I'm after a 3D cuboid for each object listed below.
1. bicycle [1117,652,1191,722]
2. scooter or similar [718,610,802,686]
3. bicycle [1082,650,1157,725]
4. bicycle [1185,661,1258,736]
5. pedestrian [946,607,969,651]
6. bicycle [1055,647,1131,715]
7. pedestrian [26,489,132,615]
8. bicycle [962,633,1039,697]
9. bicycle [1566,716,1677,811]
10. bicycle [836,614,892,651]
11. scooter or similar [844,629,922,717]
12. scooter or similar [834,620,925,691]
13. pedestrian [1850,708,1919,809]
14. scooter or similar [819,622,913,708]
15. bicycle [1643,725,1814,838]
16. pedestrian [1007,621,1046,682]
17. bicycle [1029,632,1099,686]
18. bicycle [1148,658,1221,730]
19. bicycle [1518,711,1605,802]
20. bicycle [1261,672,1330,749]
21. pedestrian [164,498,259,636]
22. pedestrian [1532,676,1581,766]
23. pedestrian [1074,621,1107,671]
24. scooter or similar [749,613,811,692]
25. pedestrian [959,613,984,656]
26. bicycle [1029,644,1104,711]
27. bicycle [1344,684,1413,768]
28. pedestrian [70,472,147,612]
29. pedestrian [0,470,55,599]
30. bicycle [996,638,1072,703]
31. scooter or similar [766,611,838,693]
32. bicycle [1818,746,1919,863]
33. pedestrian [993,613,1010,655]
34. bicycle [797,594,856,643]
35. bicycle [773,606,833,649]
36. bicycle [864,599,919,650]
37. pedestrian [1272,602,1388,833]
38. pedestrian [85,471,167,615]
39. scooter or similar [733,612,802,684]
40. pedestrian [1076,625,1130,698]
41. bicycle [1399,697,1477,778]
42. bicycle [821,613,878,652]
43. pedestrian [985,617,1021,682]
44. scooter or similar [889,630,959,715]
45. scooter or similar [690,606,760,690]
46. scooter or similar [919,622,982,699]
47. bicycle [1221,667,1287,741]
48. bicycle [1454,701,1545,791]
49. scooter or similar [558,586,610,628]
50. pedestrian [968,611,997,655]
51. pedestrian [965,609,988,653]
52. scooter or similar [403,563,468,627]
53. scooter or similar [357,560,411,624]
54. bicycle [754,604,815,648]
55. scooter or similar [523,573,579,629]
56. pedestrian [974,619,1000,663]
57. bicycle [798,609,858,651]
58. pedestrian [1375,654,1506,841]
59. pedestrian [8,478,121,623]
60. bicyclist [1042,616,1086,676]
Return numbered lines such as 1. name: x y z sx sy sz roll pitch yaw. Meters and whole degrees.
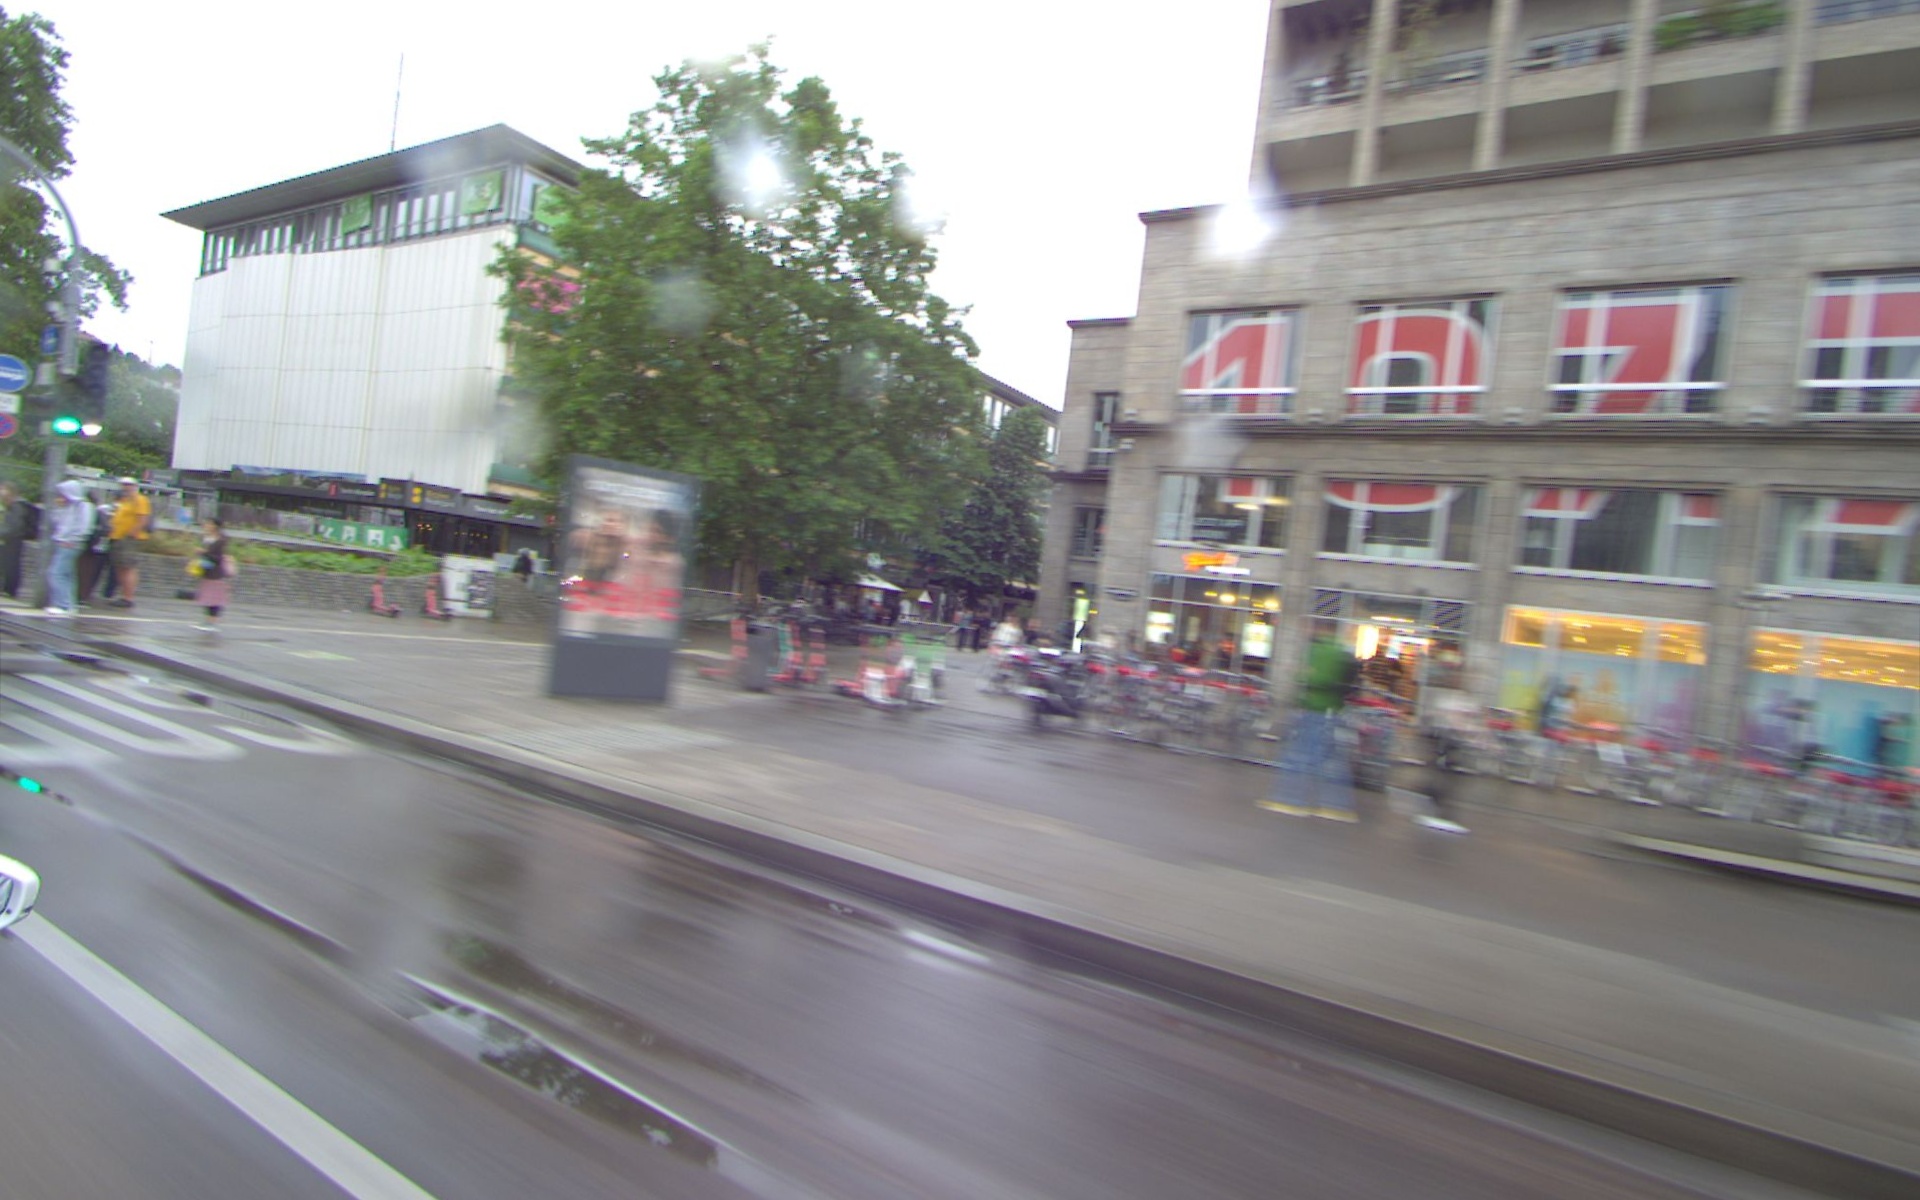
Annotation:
1. bicycle: 3.845 1.694 19.842 0.608 1.253 1.990 7 1 33
2. scooter or similar: -3.720 0.900 18.746 1.351 1.264 0.435 8 -2 -28
3. bicycle: 3.218 1.728 20.132 0.608 1.352 1.990 7 1 33
4. bicycle: 4.946 1.822 18.954 0.608 1.282 1.990 7 1 33
5. pedestrian: -0.088 1.180 40.825 0.699 1.687 0.771 7 -1 3
6. bicycle: 2.741 1.640 20.537 0.608 1.253 1.990 7 1 33
7. pedestrian: -13.007 -0.693 14.863 0.746 1.711 0.876 7 0 32
8. bicycle: 0.896 1.396 21.600 0.608 1.253 1.990 7 1 33
9. bicycle: 9.992 2.439 15.274 0.675 1.123 1.736 6 0 10
10. bicycle: -3.242 1.089 33.837 1.967 1.039 0.615 6 1 40
11. scooter or similar: -1.165 1.072 14.995 0.434 1.142 1.355 10 -3 -32
12. scooter or similar: -1.702 1.180 21.421 1.718 1.275 0.622 7 -1 5
13. pedestrian: 16.976 2.882 18.431 0.763 1.716 0.723 6 -2 31
14. scooter or similar: -1.564 1.064 16.627 1.348 1.245 0.568 8 -2 -14
15. bicycle: 10.840 2.517 14.307 0.873 1.154 2.090 6 0 6
16. pedestrian: 1.782 1.371 27.004 0.662 1.542 0.779 6 0 -19
17. bicycle: 2.893 1.648 28.173 0.656 1.270 1.994 7 -1 -35
18. bicycle: 4.358 1.788 19.418 0.608 1.253 1.990 7 1 33
19. bicycle: 9.259 2.375 15.552 0.661 1.123 1.695 6 0 17
20. bicycle: 6.139 1.982 18.346 0.608 1.253 1.990 7 1 33
21. pedestrian: -10.474 -0.445 14.092 0.743 1.826 0.541 6 0 4
22. pedestrian: 12.135 2.448 20.474 0.696 1.709 0.597 6 0 32
23. pedestrian: 4.875 1.728 37.633 0.853 1.785 0.703 6 0 37
24. scooter or similar: -3.060 0.887 17.081 0.941 1.220 0.305 6 -2 33
25. pedestrian: 0.591 1.742 50.905 0.835 2.037 0.988 6 -1 15
26. bicycle: 2.236 1.597 20.874 0.608 1.253 1.990 7 1 33
27. bicycle: 7.275 2.142 17.609 0.863 1.123 2.885 6 0 20
28. pedestrian: -13.936 -0.949 16.464 0.711 2.172 0.707 7 0 42
29. pedestrian: -14.415 -1.005 15.052 0.932 1.861 0.789 6 0 18
30. bicycle: 1.593 1.485 21.305 0.608 1.253 1.990 7 1 33
31. scooter or similar: -2.764 0.902 17.532 1.154 1.296 0.369 6 -2 33
32. bicycle: 12.090 2.625 12.385 0.609 1.253 2.176 5 1 -23
33. pedestrian: 1.685 1.377 40.532 0.434 1.657 0.460 7 -1 13
34. bicycle: -5.006 0.682 37.601 2.100 1.581 0.792 6 -1 40
35. bicycle: -4.959 0.857 31.666 1.995 1.116 0.615 6 1 40
36. bicycle: -2.550 0.902 37.162 1.967 1.653 0.615 6 0 40
37. pedestrian: 3.421 1.056 9.288 0.774 1.956 0.708 6 0 23
38. pedestrian: -13.142 -0.887 15.866 0.655 2.172 0.556 6 0 18
39. scooter or similar: -3.704 0.924 19.344 1.085 1.231 0.473 8 -2 -28
40. pedestrian: 3.569 1.533 25.105 0.877 1.694 0.791 6 -2 42
41. bicycle: 7.889 2.235 16.701 0.728 1.121 2.235 6 -2 17
42. bicycle: -3.662 1.052 33.219 1.967 1.069 0.615 6 1 40
43. pedestrian: 1.116 1.288 26.349 0.637 1.621 0.614 5 0 -19
44. scooter or similar: -0.570 1.180 16.392 0.581 1.271 1.309 6 -2 18
45. scooter or similar: -3.864 0.784 16.495 1.081 1.251 0.324 6 -2 33
46. scooter or similar: -0.210 1.222 20.849 0.615 1.444 1.703 7 -2 -20
47. bicycle: 5.457 1.894 18.605 0.608 1.241 1.616 7 1 33
48. bicycle: 8.606 2.294 16.137 0.810 1.123 1.982 6 0 17
49. scooter or similar: -10.549 0.197 28.237 1.291 1.048 0.477 6 1 20
50. pedestrian: 1.018 1.511 45.909 0.822 1.885 0.820 6 -2 33
51. pedestrian: 0.671 1.285 40.990 0.699 1.687 0.771 7 -1 3
52. scooter or similar: -11.705 -0.122 22.451 1.291 1.273 0.374 6 -2 20
53. scooter or similar: -12.260 -0.180 21.413 1.139 1.230 0.352 6 -2 31
54. bicycle: -5.398 0.778 30.845 1.967 1.133 0.615 6 1 40
55. scooter or similar: -10.960 0.018 26.981 1.291 1.347 0.410 6 -2 20
56. pedestrian: 1.345 2.038 49.522 0.835 2.037 0.988 6 -1 15
57. bicycle: -4.241 0.957 32.265 1.995 1.116 0.615 6 1 40
58. pedestrian: 4.712 1.422 9.863 0.783 1.661 0.779 7 0 -43
59. pedestrian: -12.060 -0.649 13.563 0.696 1.826 0.748 6 0 18
60. bicyclist: 2.913 1.286 28.169 0.646 1.573 0.899 6 0 -36
